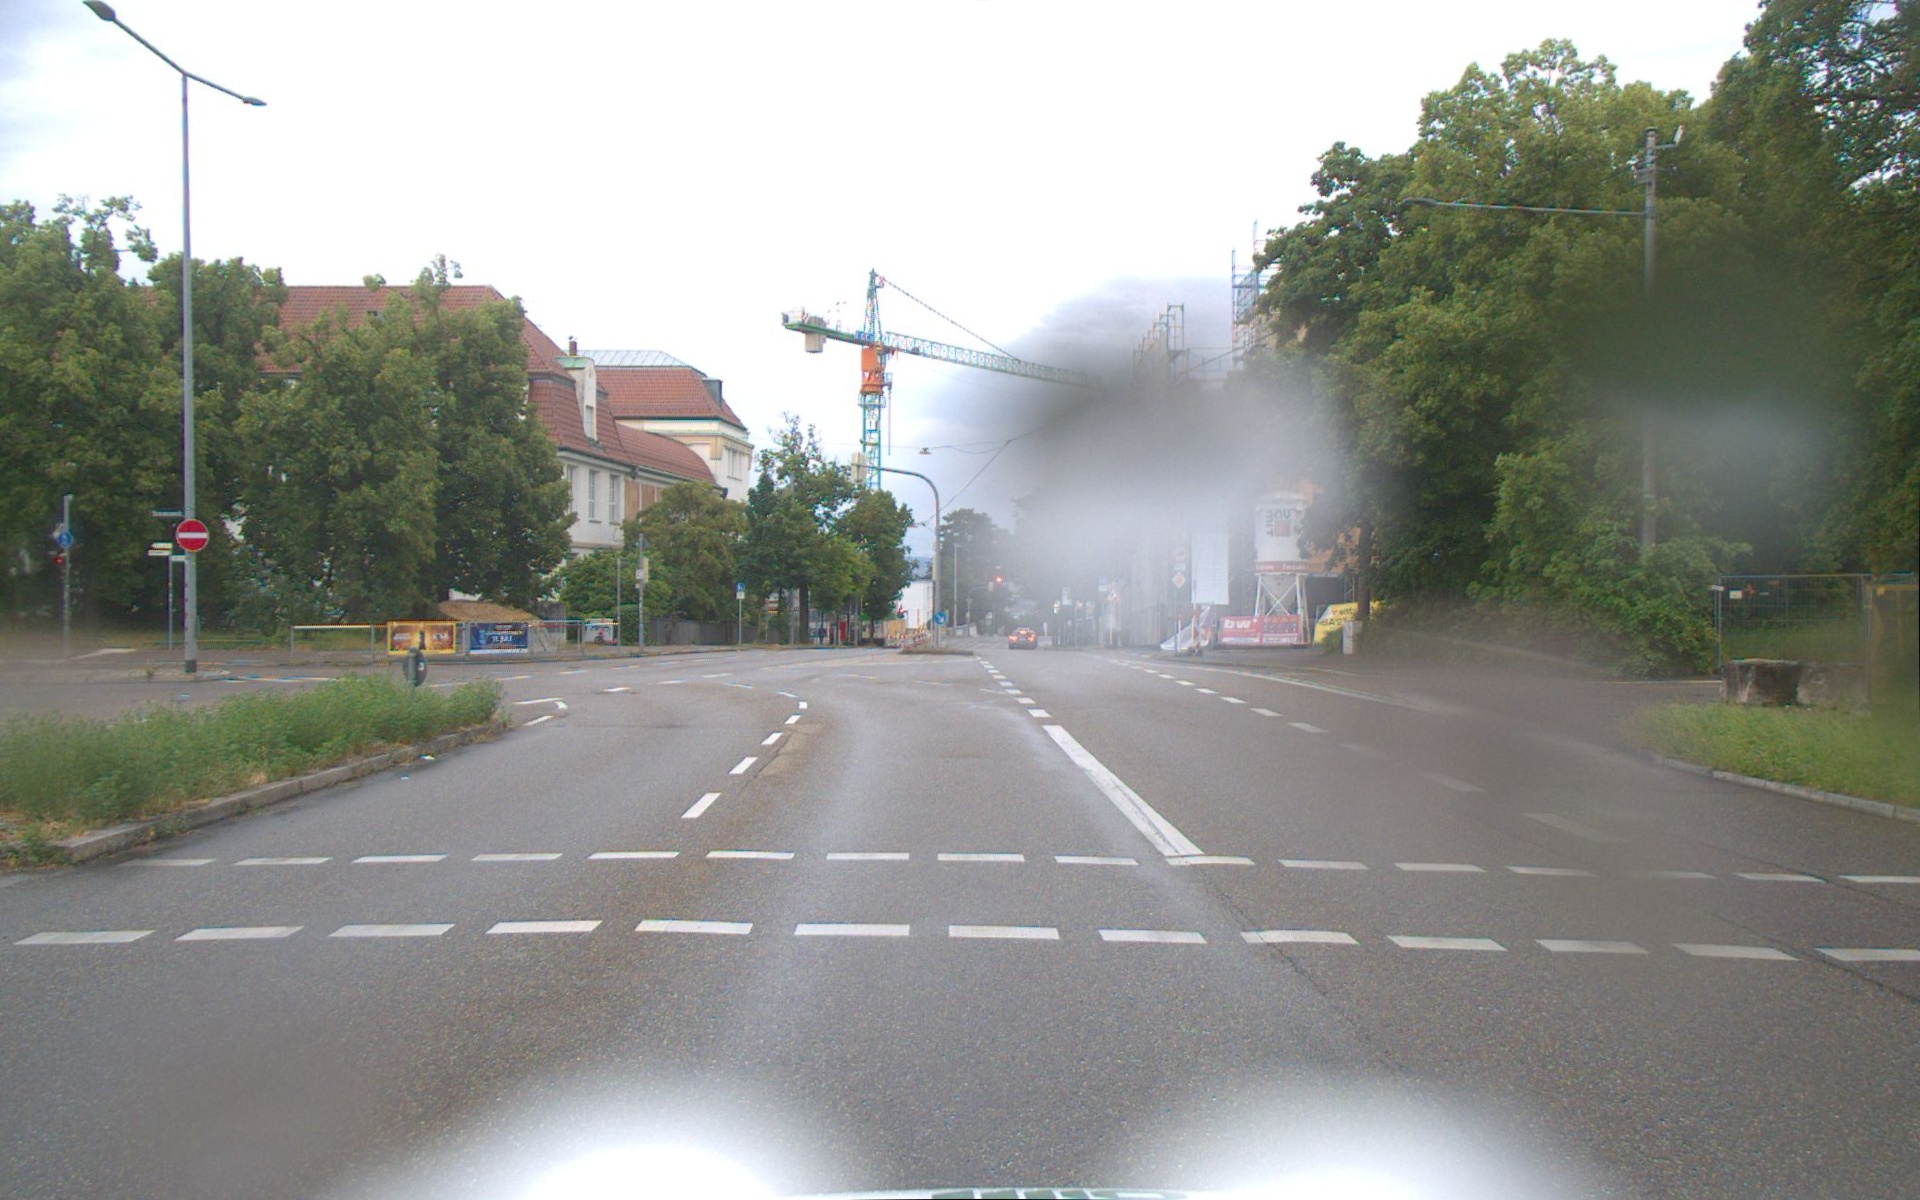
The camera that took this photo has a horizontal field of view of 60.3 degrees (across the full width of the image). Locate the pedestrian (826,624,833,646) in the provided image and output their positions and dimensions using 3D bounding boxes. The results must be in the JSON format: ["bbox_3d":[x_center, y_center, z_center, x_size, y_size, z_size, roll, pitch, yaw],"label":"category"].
[{"bbox_3d":[-9.909,2.677,125.743,0.484,1.674,0.533,1,-1,-7],"label":"pedestrian"}]

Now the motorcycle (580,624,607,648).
[{"bbox_3d":[-14.319,1.409,64.619,0.832,0.893,0.877,1,0,-1],"label":"motorcycle"}]

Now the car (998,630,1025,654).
[{"bbox_3d":[4.058,3.328,130.774,1.953,1.780,3.999,-1,0,-1],"label":"car"}]

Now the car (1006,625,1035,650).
[{"bbox_3d":[4.586,2.803,124.997,1.953,1.780,3.999,-1,0,-1],"label":"car"}]

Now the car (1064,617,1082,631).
[{"bbox_3d":[15.028,3.130,219.498,1.951,1.780,4.003,-1,0,10],"label":"car"}]

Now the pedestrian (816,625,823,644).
[{"bbox_3d":[-10.693,2.607,125.710,0.465,1.421,0.411,-1,0,-1],"label":"pedestrian"}]
